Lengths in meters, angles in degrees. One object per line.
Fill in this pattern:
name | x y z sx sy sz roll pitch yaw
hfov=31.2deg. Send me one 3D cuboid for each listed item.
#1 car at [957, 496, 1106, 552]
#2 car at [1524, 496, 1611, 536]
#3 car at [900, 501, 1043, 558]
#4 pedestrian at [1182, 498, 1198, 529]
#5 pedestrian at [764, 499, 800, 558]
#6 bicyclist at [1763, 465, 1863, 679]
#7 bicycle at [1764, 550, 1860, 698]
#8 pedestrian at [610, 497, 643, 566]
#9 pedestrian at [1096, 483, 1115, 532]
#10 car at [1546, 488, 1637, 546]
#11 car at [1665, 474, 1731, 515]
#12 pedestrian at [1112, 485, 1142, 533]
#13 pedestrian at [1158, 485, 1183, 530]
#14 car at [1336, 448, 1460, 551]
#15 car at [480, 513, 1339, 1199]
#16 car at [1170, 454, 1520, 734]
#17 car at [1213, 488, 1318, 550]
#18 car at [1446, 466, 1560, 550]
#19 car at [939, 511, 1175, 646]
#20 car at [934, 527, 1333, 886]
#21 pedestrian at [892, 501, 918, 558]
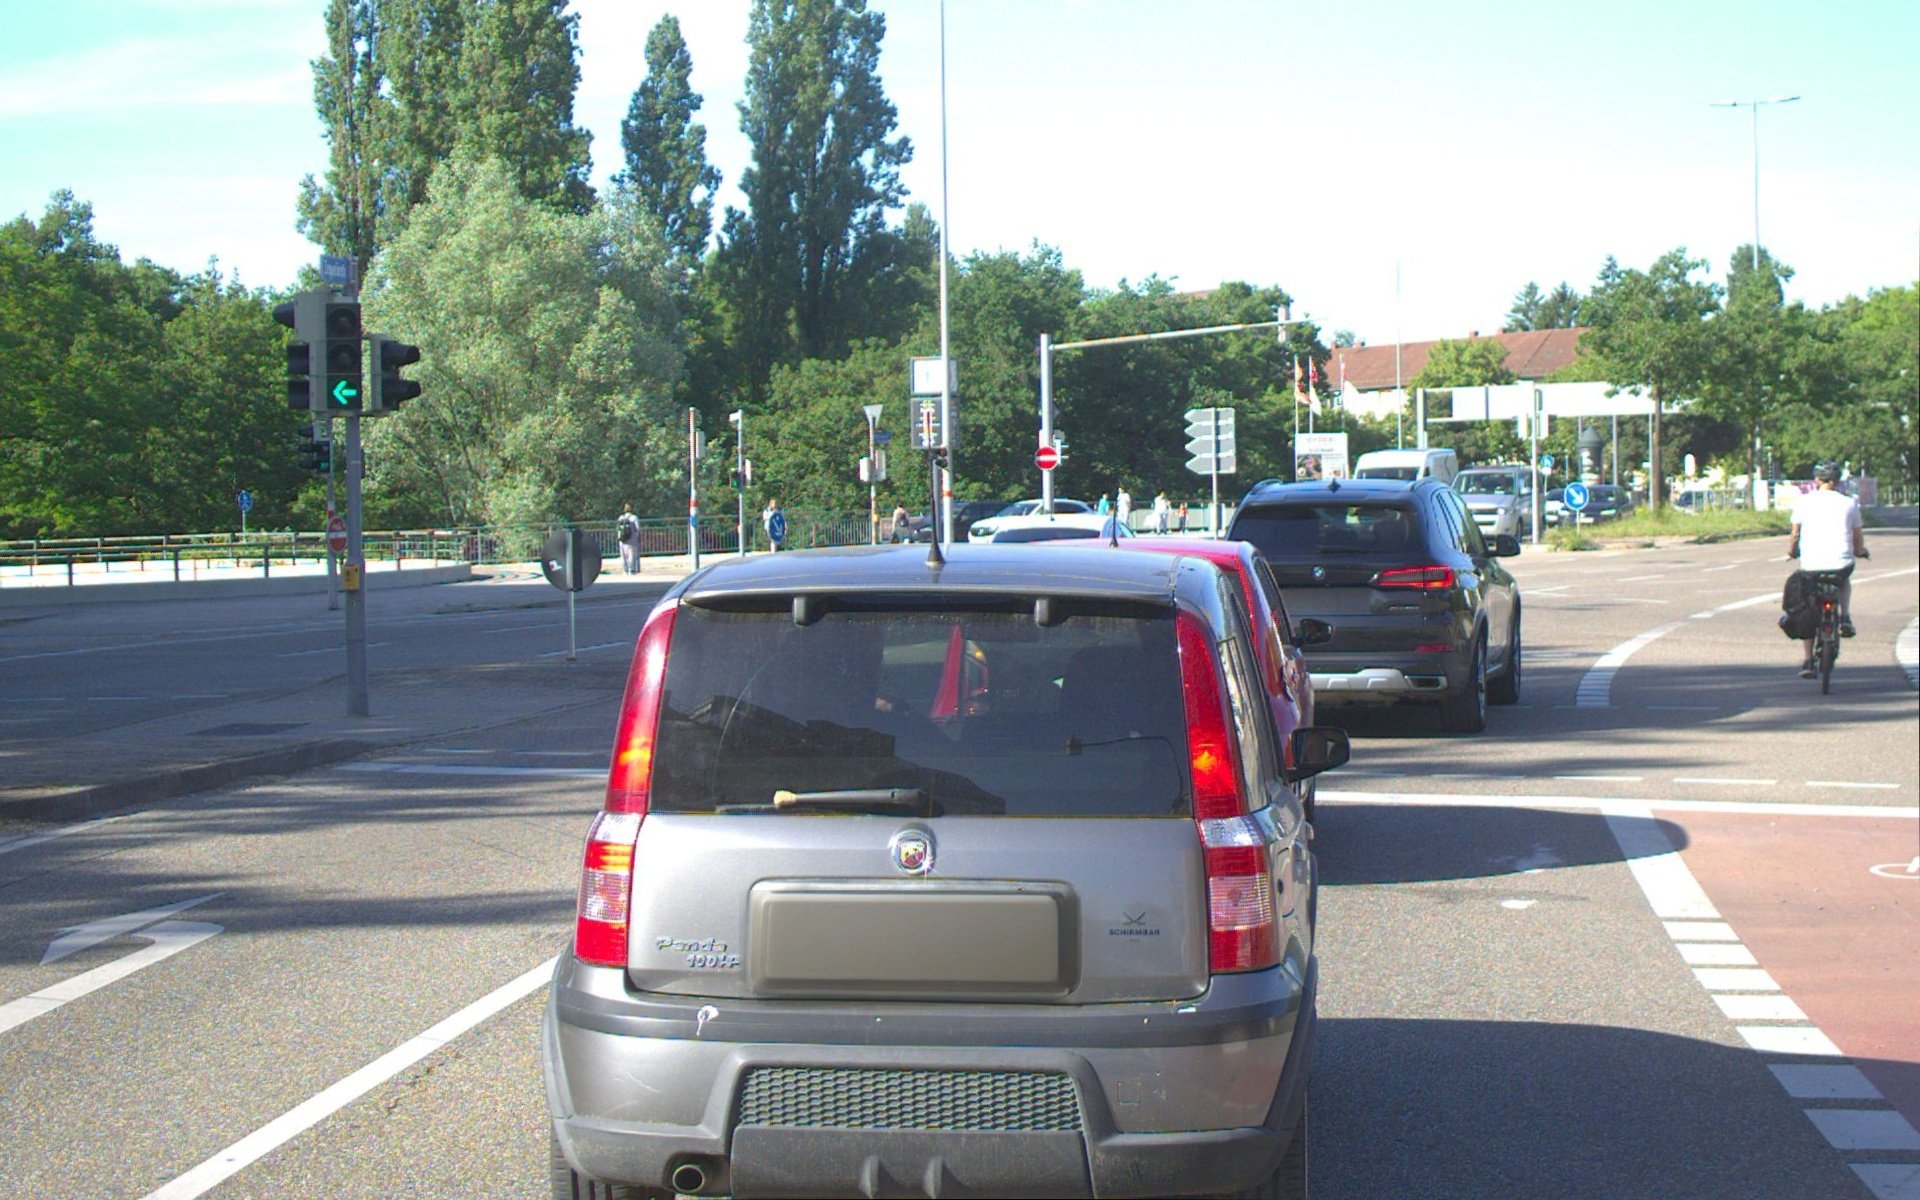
car | 2.128 -2.261 101.180 4.317 1.530 1.784 -3 4 -42
car | 22.962 -3.167 129.854 1.997 1.443 3.993 1 0 30
car | 0.351 -2.122 103.840 3.988 1.620 1.900 1 0 -39
pedestrian | 8.340 -3.136 124.602 0.424 1.132 0.397 1 0 24
pedestrian | -4.754 -1.905 91.755 0.709 1.542 0.729 -2 0 -21
bicyclist | 6.765 -0.242 27.241 0.724 1.654 1.112 1 2 15
bicycle | 6.791 0.172 27.355 0.692 1.098 1.825 1 2 15
pedestrian | -7.182 -1.475 73.988 0.679 1.458 0.703 -1 2 -7
pedestrian | 5.114 -3.246 120.969 0.499 1.696 0.499 1 0 24
car | 18.570 -2.456 100.928 1.938 1.616 4.502 0 2 19
car | 34.885 -4.975 162.547 1.997 1.809 3.994 1 0 28
pedestrian | 5.825 -3.176 120.045 0.628 1.658 0.791 1 0 -42
pedestrian | 7.648 -3.352 124.883 0.721 1.635 0.671 1 0 24
car | 11.458 -2.646 89.633 1.938 2.567 6.083 0 2 19
car | 0.101 0.562 8.555 1.618 1.510 3.819 -1 2 7
car | 2.864 -0.105 24.760 1.946 1.833 4.150 0 2 14
car | 8.130 -2.159 91.201 1.938 1.502 3.997 -2 2 17
car | 13.600 -2.324 85.955 1.938 2.001 4.927 0 2 19
car | 1.170 -0.281 39.253 1.781 1.410 4.316 0 2 14
car | 0.926 0.414 16.308 1.618 1.458 3.750 0 2 7
pedestrian | -1.531 -1.957 95.401 0.556 1.542 0.576 -2 0 -16
